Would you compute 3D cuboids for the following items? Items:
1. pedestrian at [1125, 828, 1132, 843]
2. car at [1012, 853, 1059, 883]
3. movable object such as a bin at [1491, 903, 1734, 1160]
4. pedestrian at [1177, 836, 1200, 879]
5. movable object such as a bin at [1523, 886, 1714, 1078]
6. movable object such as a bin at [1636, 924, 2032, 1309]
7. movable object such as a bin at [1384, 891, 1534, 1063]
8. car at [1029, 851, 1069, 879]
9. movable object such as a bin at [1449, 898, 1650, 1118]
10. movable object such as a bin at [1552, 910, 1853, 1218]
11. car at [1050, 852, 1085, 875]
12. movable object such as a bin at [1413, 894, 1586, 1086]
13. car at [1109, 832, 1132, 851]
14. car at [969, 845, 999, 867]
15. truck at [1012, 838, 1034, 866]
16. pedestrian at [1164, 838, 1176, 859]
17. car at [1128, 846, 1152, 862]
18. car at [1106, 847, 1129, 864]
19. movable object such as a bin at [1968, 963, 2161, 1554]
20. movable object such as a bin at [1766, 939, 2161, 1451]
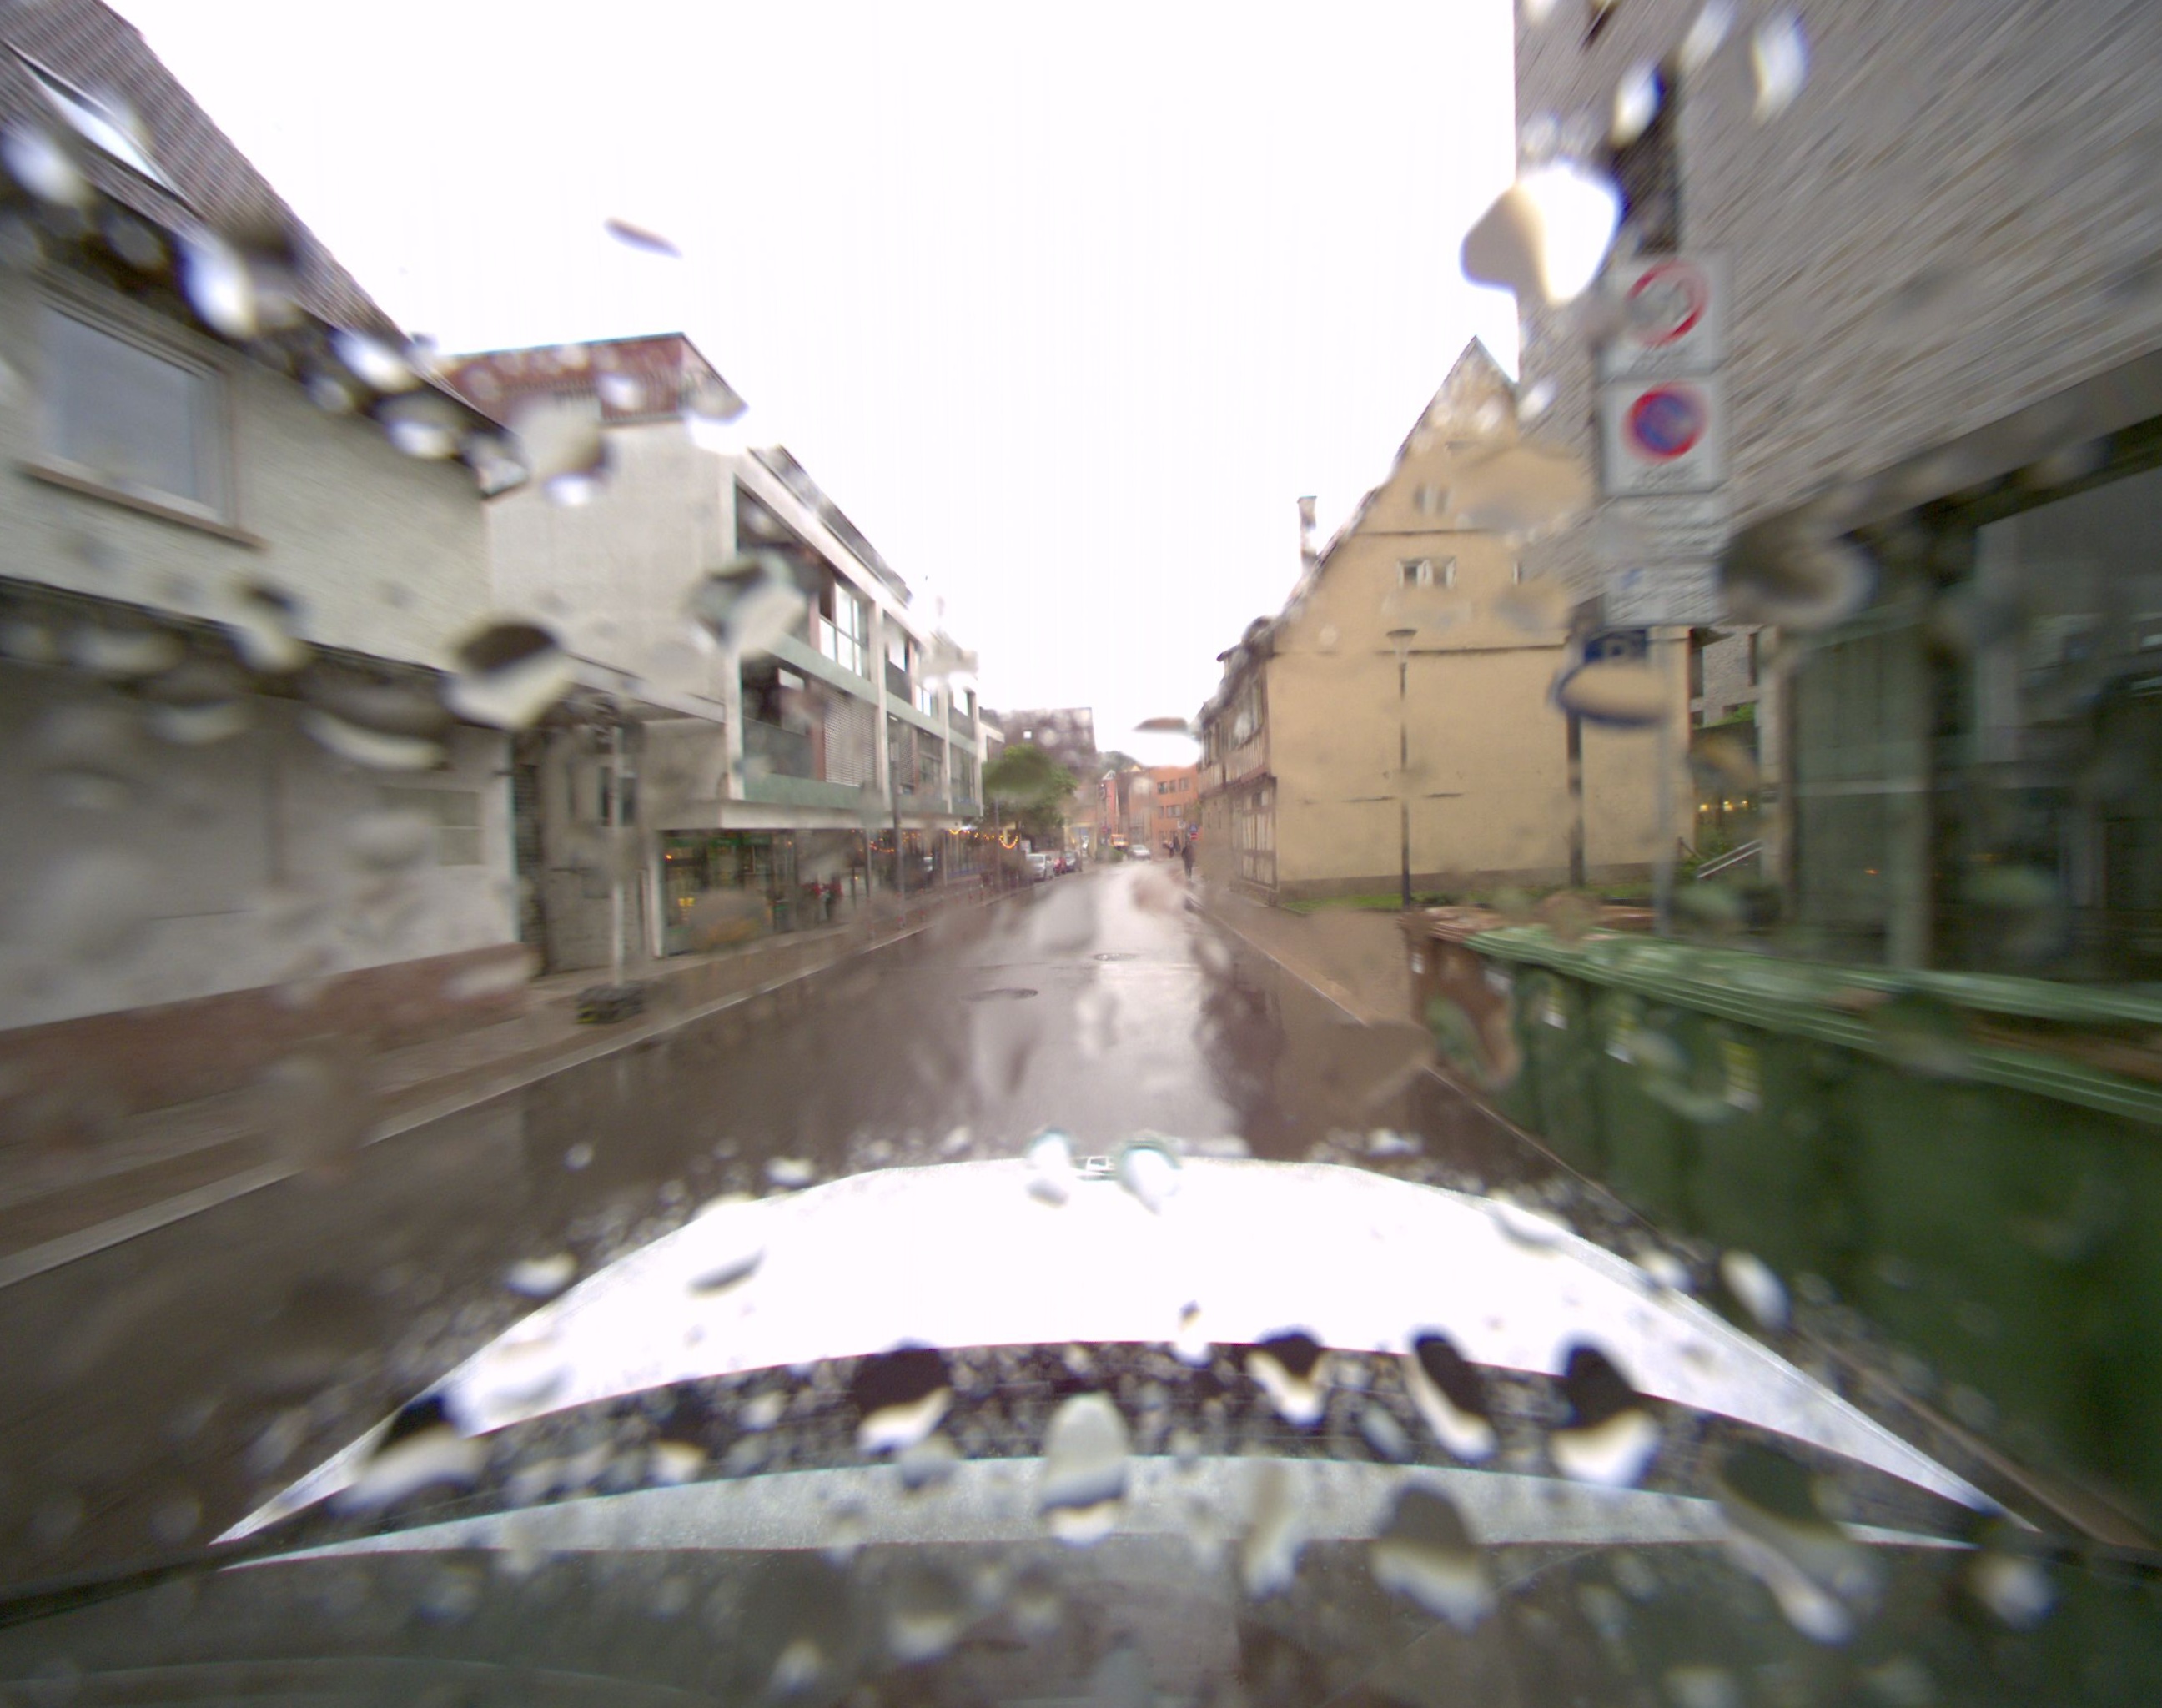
[{"bbox_3d":[6.807,-2.632,116.548,0.865,2.013,0.706,-2,1,-6],"label":"pedestrian"},{"bbox_3d":[-2.469,0.749,45.156,1.777,1.498,4.464,-3,0,7],"label":"car"},{"bbox_3d":[2.558,0.825,3.988,0.763,1.095,0.581,-3,0,2],"label":"movable object such as a bin"},{"bbox_3d":[4.774,0.149,36.310,0.807,1.885,0.908,-4,0,0],"label":"pedestrian"},{"bbox_3d":[3.409,0.783,5.223,0.763,1.095,0.627,-3,0,2],"label":"movable object such as a bin"},{"bbox_3d":[2.503,0.831,2.785,0.763,1.095,0.581,-3,0,2],"label":"movable object such as a bin"},{"bbox_3d":[2.664,0.846,5.800,0.763,1.095,0.581,-3,0,2],"label":"movable object such as a bin"},{"bbox_3d":[-1.943,0.656,51.042,1.777,1.576,4.115,-3,0,7],"label":"car"},{"bbox_3d":[2.613,0.832,4.607,0.763,1.095,0.581,-3,0,2],"label":"movable object such as a bin"},{"bbox_3d":[2.535,0.823,3.395,0.763,1.095,0.581,-3,0,2],"label":"movable object such as a bin"},{"bbox_3d":[-0.887,0.633,55.984,1.704,1.458,3.921,-1,1,10],"label":"car"},{"bbox_3d":[2.639,0.836,5.200,0.763,1.095,0.581,-3,0,2],"label":"movable object such as a bin"},{"bbox_3d":[5.066,-1.570,104.802,2.102,2.146,4.855,-4,0,-7],"label":"car"},{"bbox_3d":[-8.354,0.128,70.519,1.804,1.617,4.006,-2,4,4],"label":"car"},{"bbox_3d":[-5.066,-0.226,71.345,1.592,2.062,3.193,-4,5,0],"label":"truck"},{"bbox_3d":[8.128,-0.523,74.319,0.854,1.914,0.761,-2,0,16],"label":"pedestrian"},{"bbox_3d":[5.689,-0.018,78.529,1.786,1.417,4.026,-4,0,-2],"label":"car"},{"bbox_3d":[3.528,0.125,78.762,1.712,1.458,3.904,-1,1,-5],"label":"car"},{"bbox_3d":[2.468,0.803,1.598,0.763,1.095,0.581,-3,0,2],"label":"movable object such as a bin"},{"bbox_3d":[2.489,0.826,2.185,0.763,1.095,0.581,-3,0,2],"label":"movable object such as a bin"}]
